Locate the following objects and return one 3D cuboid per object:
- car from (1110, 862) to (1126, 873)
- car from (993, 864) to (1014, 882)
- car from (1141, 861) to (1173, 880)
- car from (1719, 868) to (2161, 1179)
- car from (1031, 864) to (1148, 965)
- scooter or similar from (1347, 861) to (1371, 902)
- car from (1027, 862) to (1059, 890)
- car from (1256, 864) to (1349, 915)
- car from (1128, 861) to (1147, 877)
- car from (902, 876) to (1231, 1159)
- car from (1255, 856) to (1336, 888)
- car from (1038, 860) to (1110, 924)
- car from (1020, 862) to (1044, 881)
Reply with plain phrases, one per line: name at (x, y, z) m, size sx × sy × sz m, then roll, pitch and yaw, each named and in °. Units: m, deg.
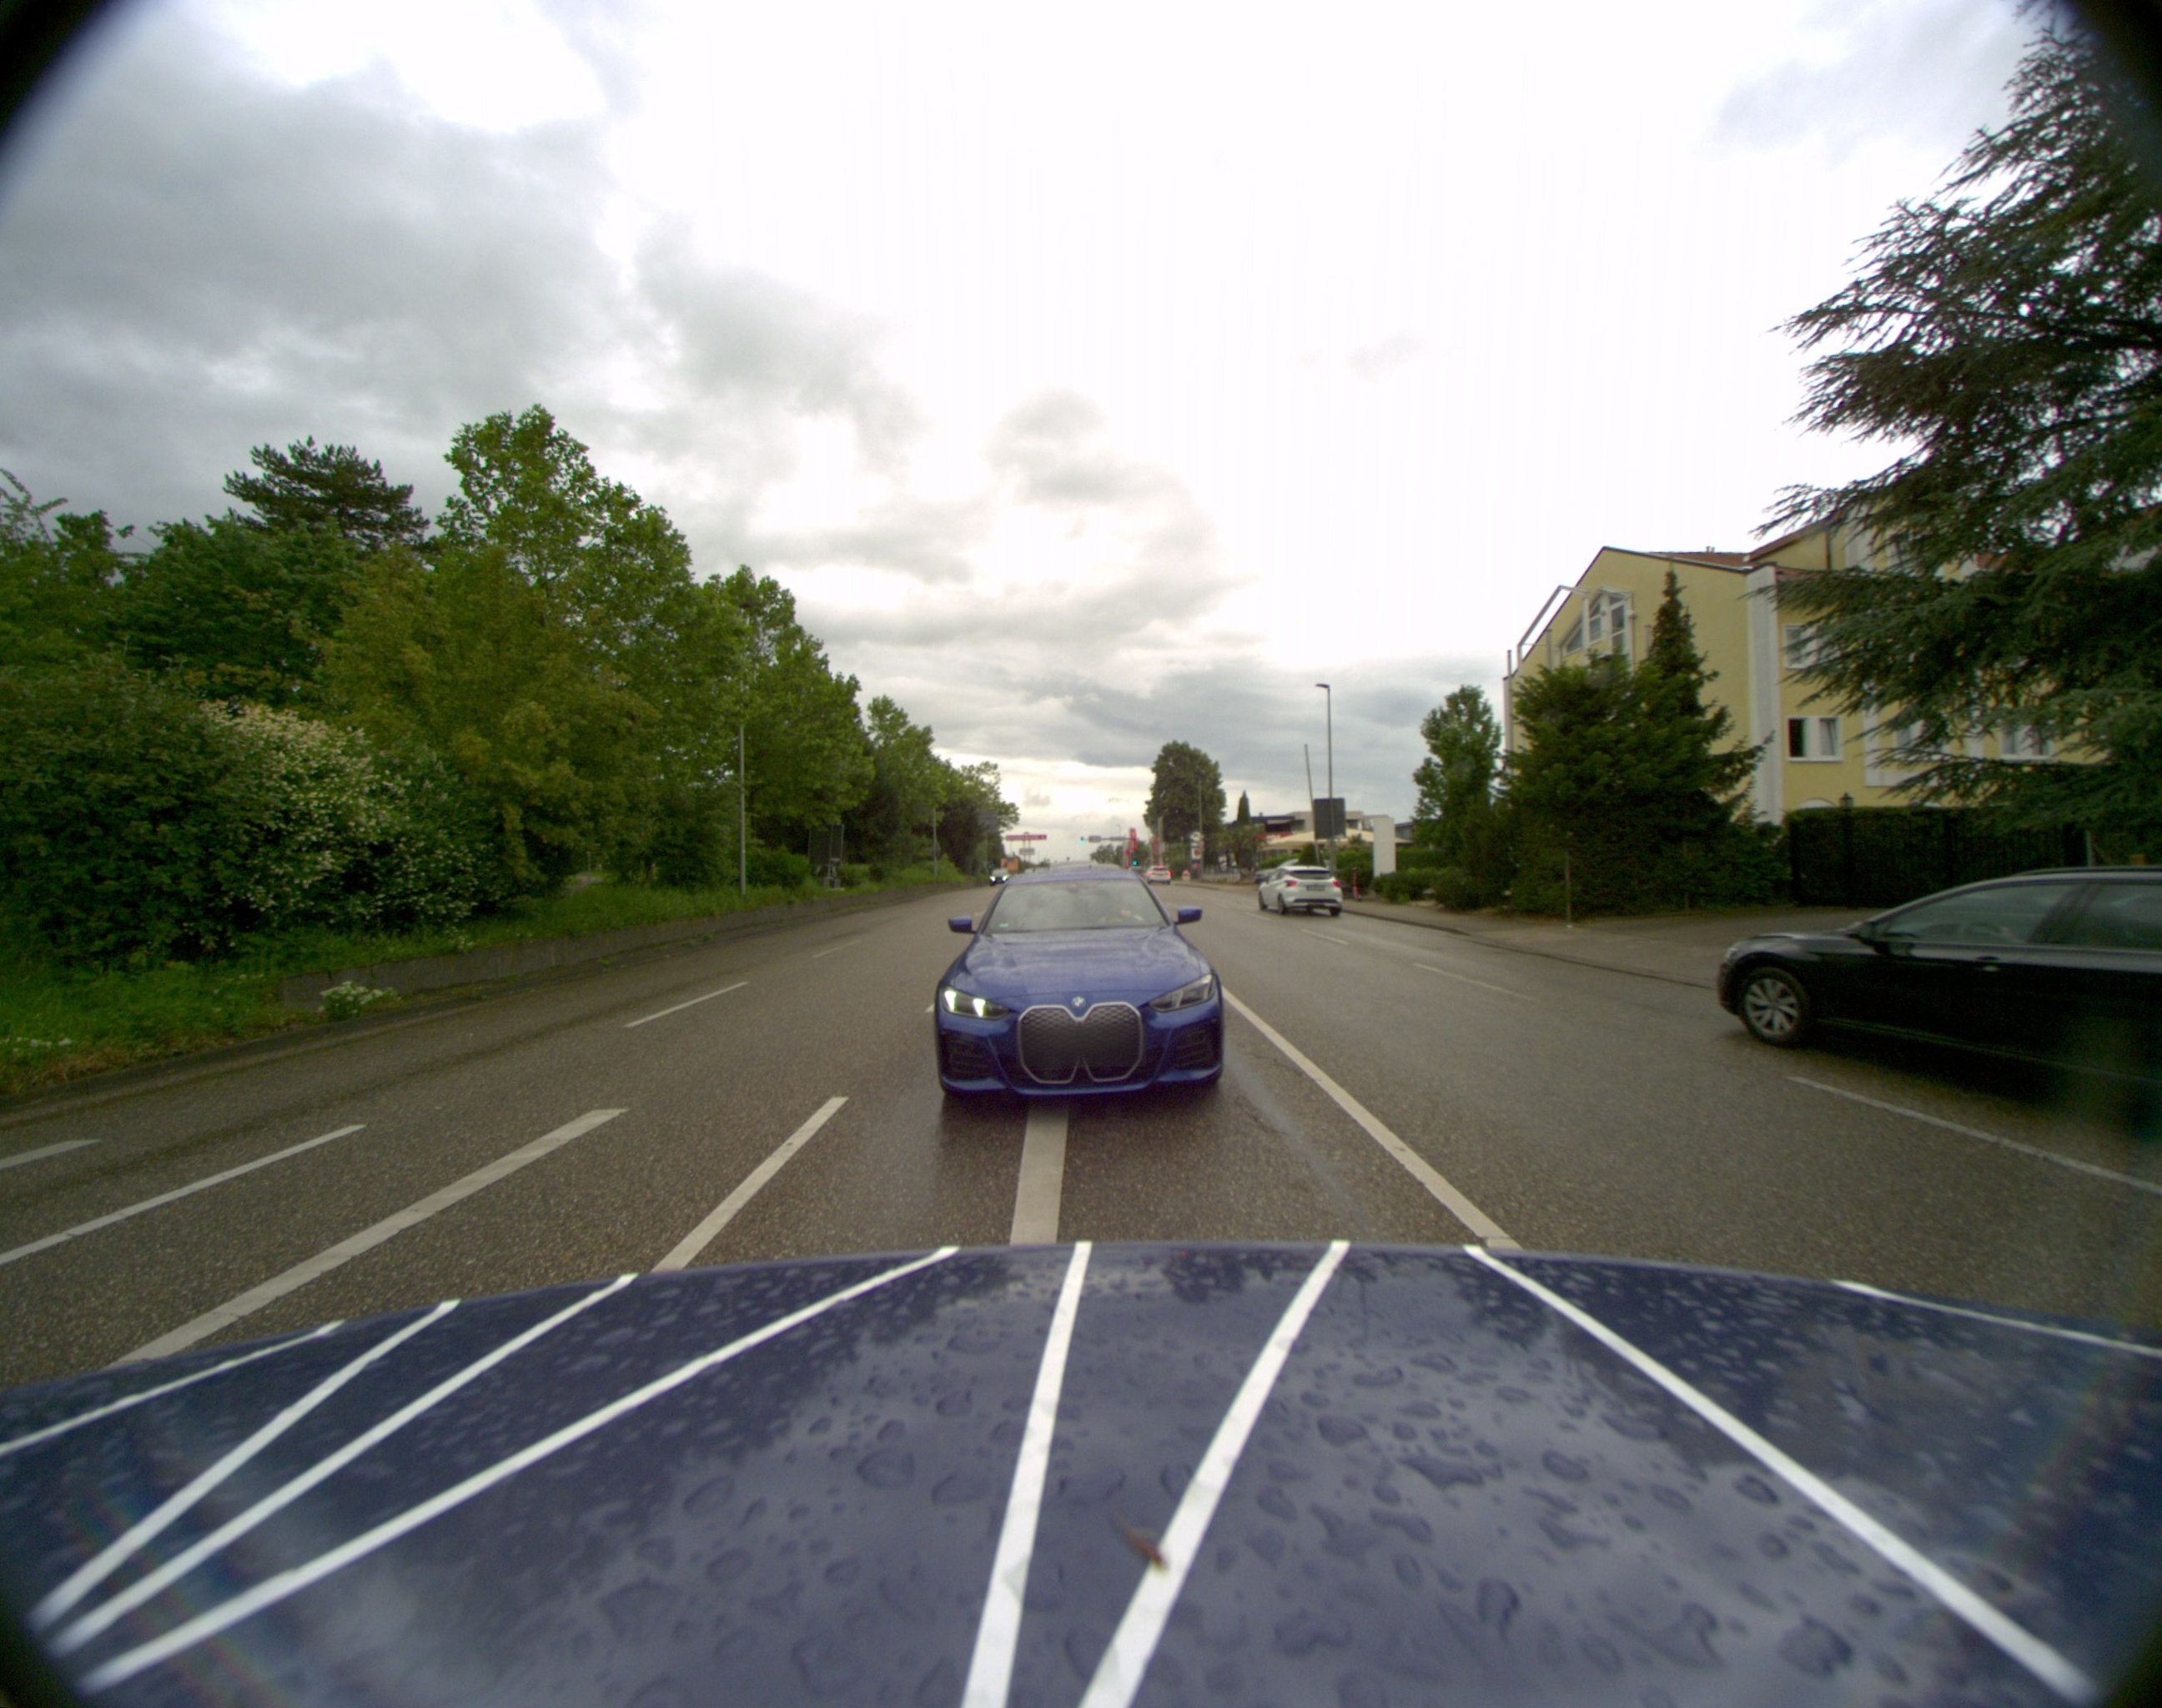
car at (4.988, 1.825, 102.466) m, size 1.790 × 1.451 × 4.431 m, roll -1°, pitch 0°, yaw -3°
car at (-7.377, 1.810, 72.338) m, size 1.705 × 1.612 × 3.841 m, roll -3°, pitch -1°, yaw -2°
car at (6.087, 1.322, 60.987) m, size 1.973 × 1.446 × 4.308 m, roll 0°, pitch 0°, yaw -2°
car at (6.291, 0.878, 4.177) m, size 1.780 × 1.493 × 4.471 m, roll 0°, pitch 0°, yaw 0°
car at (0.142, 0.974, 13.977) m, size 1.807 × 1.543 × 4.223 m, roll -1°, pitch 0°, yaw 0°
scooter or similar at (10.048, 0.969, 27.507) m, size 0.505 × 1.398 × 1.882 m, roll 0°, pitch 0°, yaw 11°
car at (-2.300, 1.288, 46.674) m, size 1.698 × 1.580 × 4.000 m, roll -1°, pitch 0°, yaw 1°
car at (6.717, 1.046, 23.443) m, size 1.750 × 1.389 × 3.802 m, roll 0°, pitch 0°, yaw 0°
car at (5.752, 1.534, 77.537) m, size 1.703 × 1.590 × 3.550 m, roll -1°, pitch 0°, yaw 0°
car at (-0.079, 0.970, 6.350) m, size 1.803 × 1.399 × 4.272 m, roll -1°, pitch 0°, yaw 0°
car at (11.550, 0.979, 41.106) m, size 3.930 × 1.642 × 1.719 m, roll -1°, pitch 0°, yaw 6°
car at (-0.170, 0.992, 21.447) m, size 1.807 × 1.543 × 4.000 m, roll -1°, pitch 0°, yaw 0°
car at (-4.092, 1.442, 63.669) m, size 1.795 × 1.451 × 4.719 m, roll -1°, pitch 0°, yaw -1°
